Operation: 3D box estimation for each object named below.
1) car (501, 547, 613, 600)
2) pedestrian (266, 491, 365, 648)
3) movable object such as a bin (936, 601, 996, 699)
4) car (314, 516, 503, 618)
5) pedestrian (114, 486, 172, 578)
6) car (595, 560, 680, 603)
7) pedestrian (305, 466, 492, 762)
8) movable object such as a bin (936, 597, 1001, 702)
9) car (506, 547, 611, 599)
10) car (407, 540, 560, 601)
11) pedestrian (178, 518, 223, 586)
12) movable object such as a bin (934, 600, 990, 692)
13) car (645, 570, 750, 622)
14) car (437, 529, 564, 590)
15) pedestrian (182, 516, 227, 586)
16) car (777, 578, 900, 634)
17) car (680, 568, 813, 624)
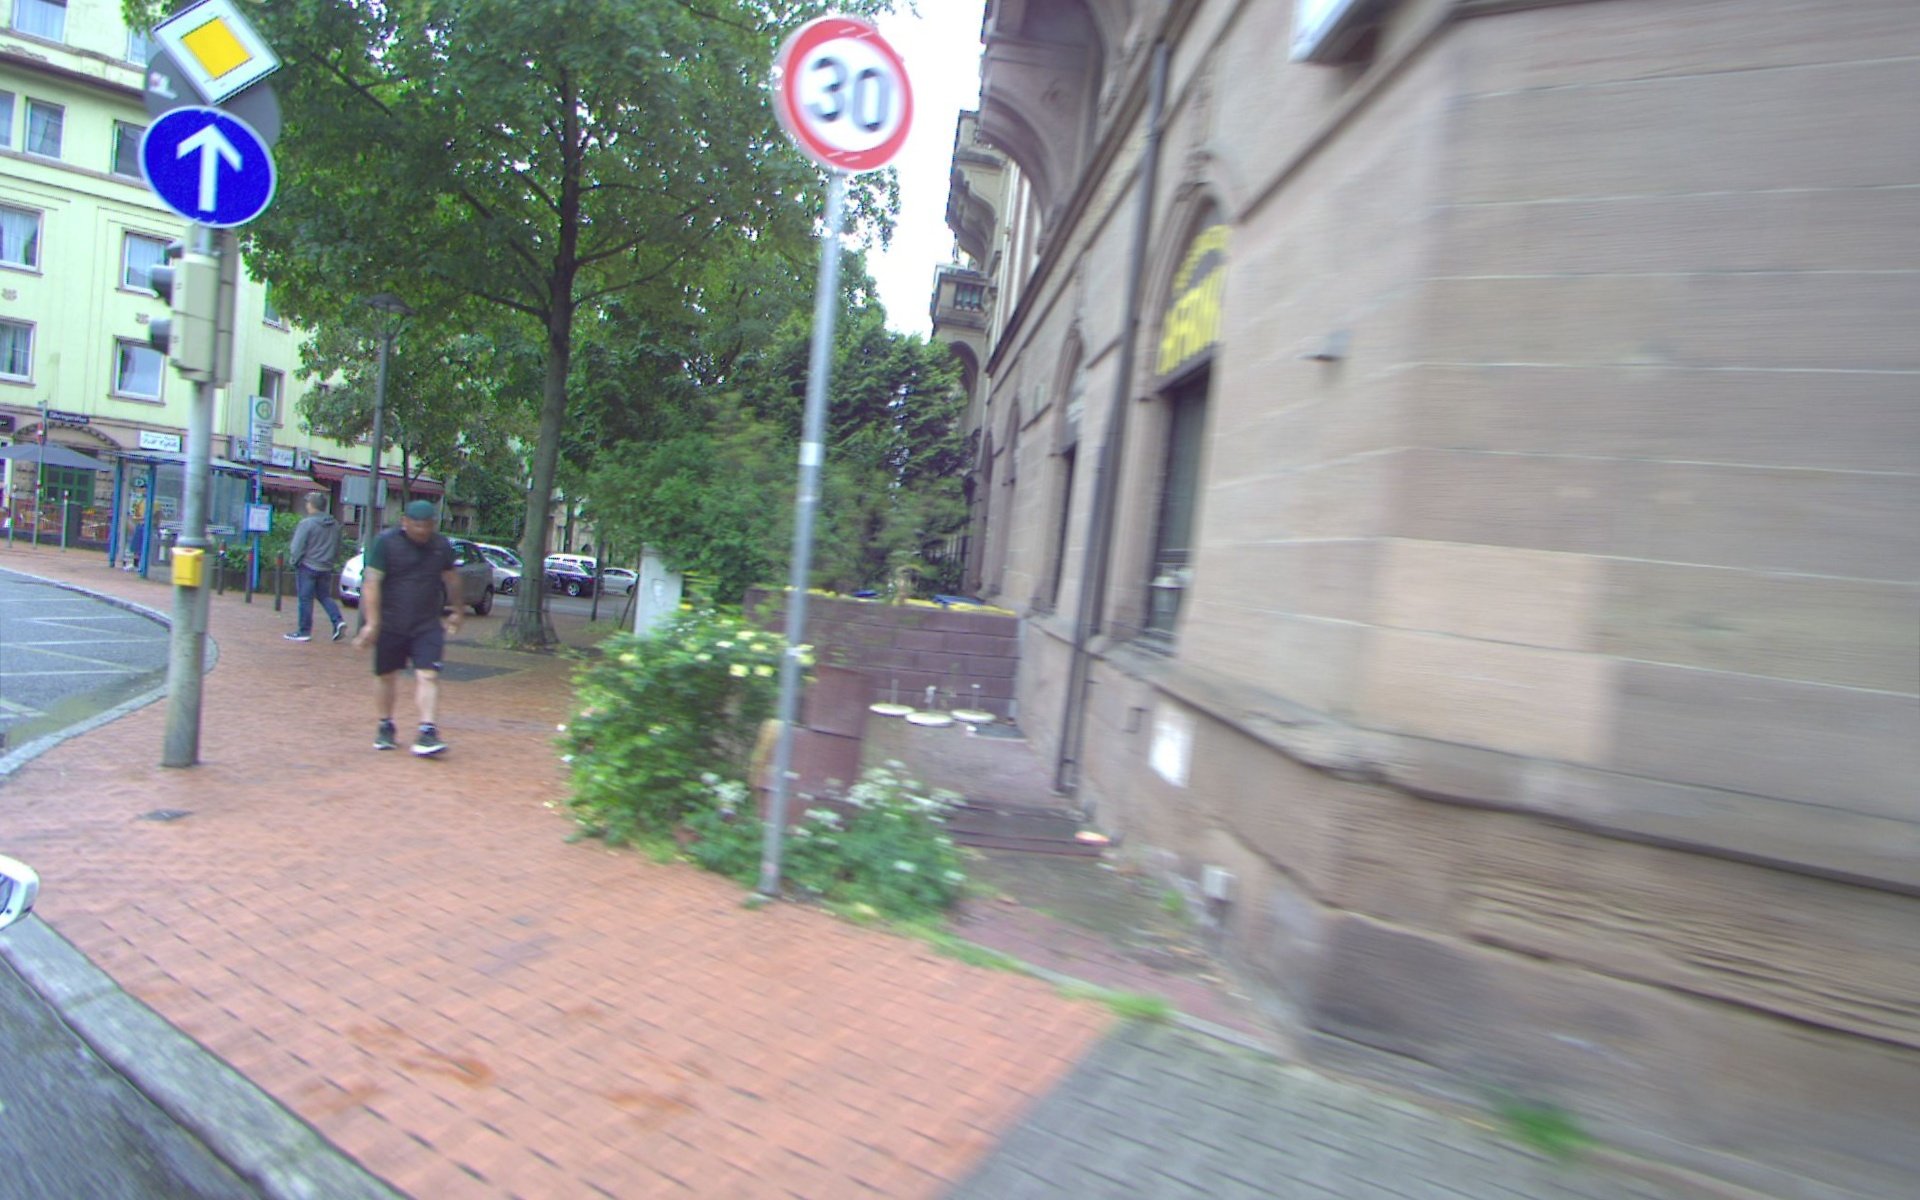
[{"bbox_3d":[-17.332,-1.107,43.407,3.929,1.748,1.792,7,0,-4],"label":"car"},{"bbox_3d":[-7.679,-0.358,11.989,0.719,1.755,0.572,7,0,30],"label":"pedestrian"},{"bbox_3d":[0.066,0.582,11.912,0.527,1.070,0.575,7,0,-7],"label":"movable object such as a bin"},{"bbox_3d":[-10.559,-0.553,19.593,1.740,1.519,3.674,8,-2,-5],"label":"car"},{"bbox_3d":[-16.846,-1.386,20.758,0.550,1.797,0.545,7,0,1],"label":"pedestrian"},{"bbox_3d":[-17.241,-0.948,53.937,3.828,1.769,1.792,7,0,-4],"label":"car"},{"bbox_3d":[-3.557,0.097,6.446,0.821,1.699,0.888,7,0,-27],"label":"pedestrian"},{"bbox_3d":[0.083,0.542,11.143,0.533,1.078,0.558,7,0,-7],"label":"movable object such as a bin"},{"bbox_3d":[-18.325,-1.225,46.040,3.929,1.810,1.792,7,0,-4],"label":"car"},{"bbox_3d":[-17.205,-1.047,36.497,4.565,1.546,1.792,7,0,-4],"label":"car"},{"bbox_3d":[-15.487,-0.980,20.513,0.567,1.296,0.611,7,0,-42],"label":"pedestrian"},{"bbox_3d":[0.019,0.566,12.554,0.522,1.070,0.593,7,0,-7],"label":"movable object such as a bin"},{"bbox_3d":[-9.804,-0.146,37.715,3.438,1.483,1.589,7,0,-4],"label":"car"},{"bbox_3d":[-17.678,-1.535,38.870,3.929,1.748,1.792,7,0,-4],"label":"car"},{"bbox_3d":[-15.067,-0.974,20.071,0.567,1.296,0.528,7,0,-43],"label":"pedestrian"},{"bbox_3d":[-4.030,0.202,33.819,3.927,1.547,1.875,4,0,-4],"label":"car"},{"bbox_3d":[-7.487,-0.114,35.608,4.257,1.413,1.707,7,-1,-4],"label":"car"}]
